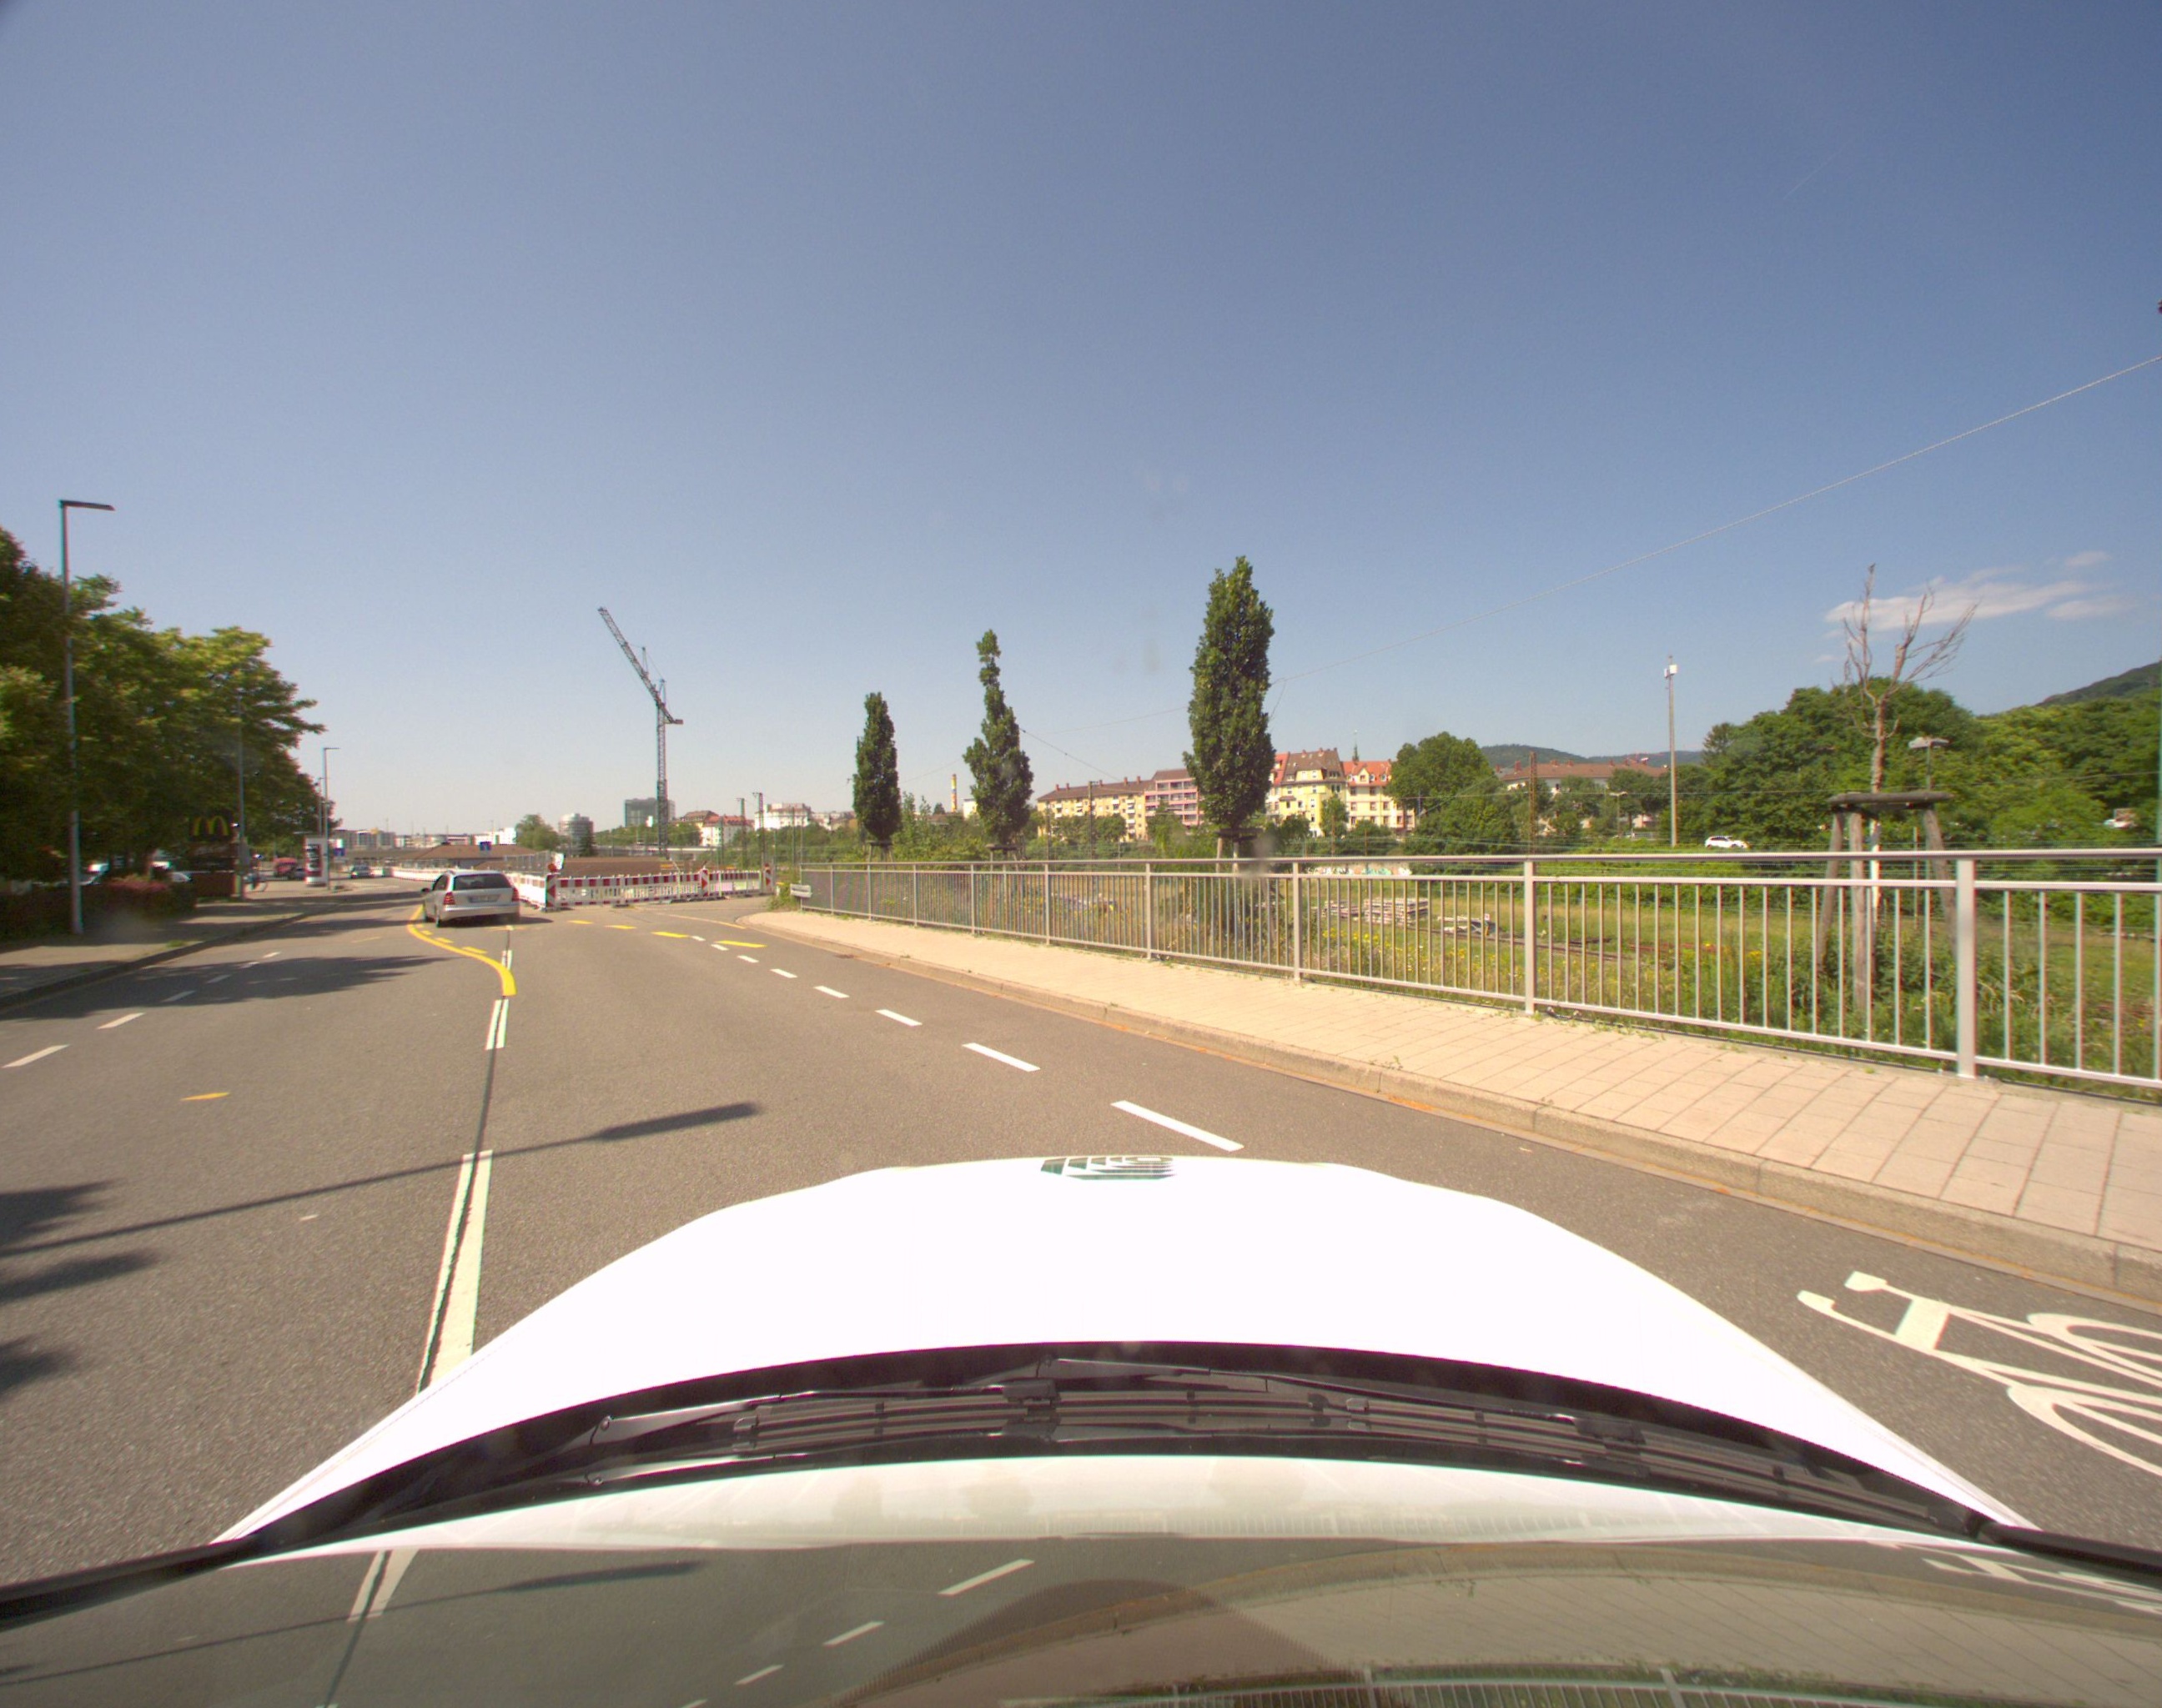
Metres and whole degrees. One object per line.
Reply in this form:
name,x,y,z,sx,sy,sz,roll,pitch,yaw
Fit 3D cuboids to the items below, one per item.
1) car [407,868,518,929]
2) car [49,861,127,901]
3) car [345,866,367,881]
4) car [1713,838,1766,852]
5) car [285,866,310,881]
car,-16.287,1.083,21.363,4.332,1.404,1.724,-1,-1,45
car,-74.668,1.973,61.358,2.295,2.757,6.083,-3,1,-37
car,-83.000,2.219,93.245,1.692,1.493,4.549,-3,1,-44
car,68.578,-0.962,84.910,1.857,1.367,4.307,-2,0,-6
car,-89.883,2.244,93.442,1.886,1.498,3.983,-3,3,-42
